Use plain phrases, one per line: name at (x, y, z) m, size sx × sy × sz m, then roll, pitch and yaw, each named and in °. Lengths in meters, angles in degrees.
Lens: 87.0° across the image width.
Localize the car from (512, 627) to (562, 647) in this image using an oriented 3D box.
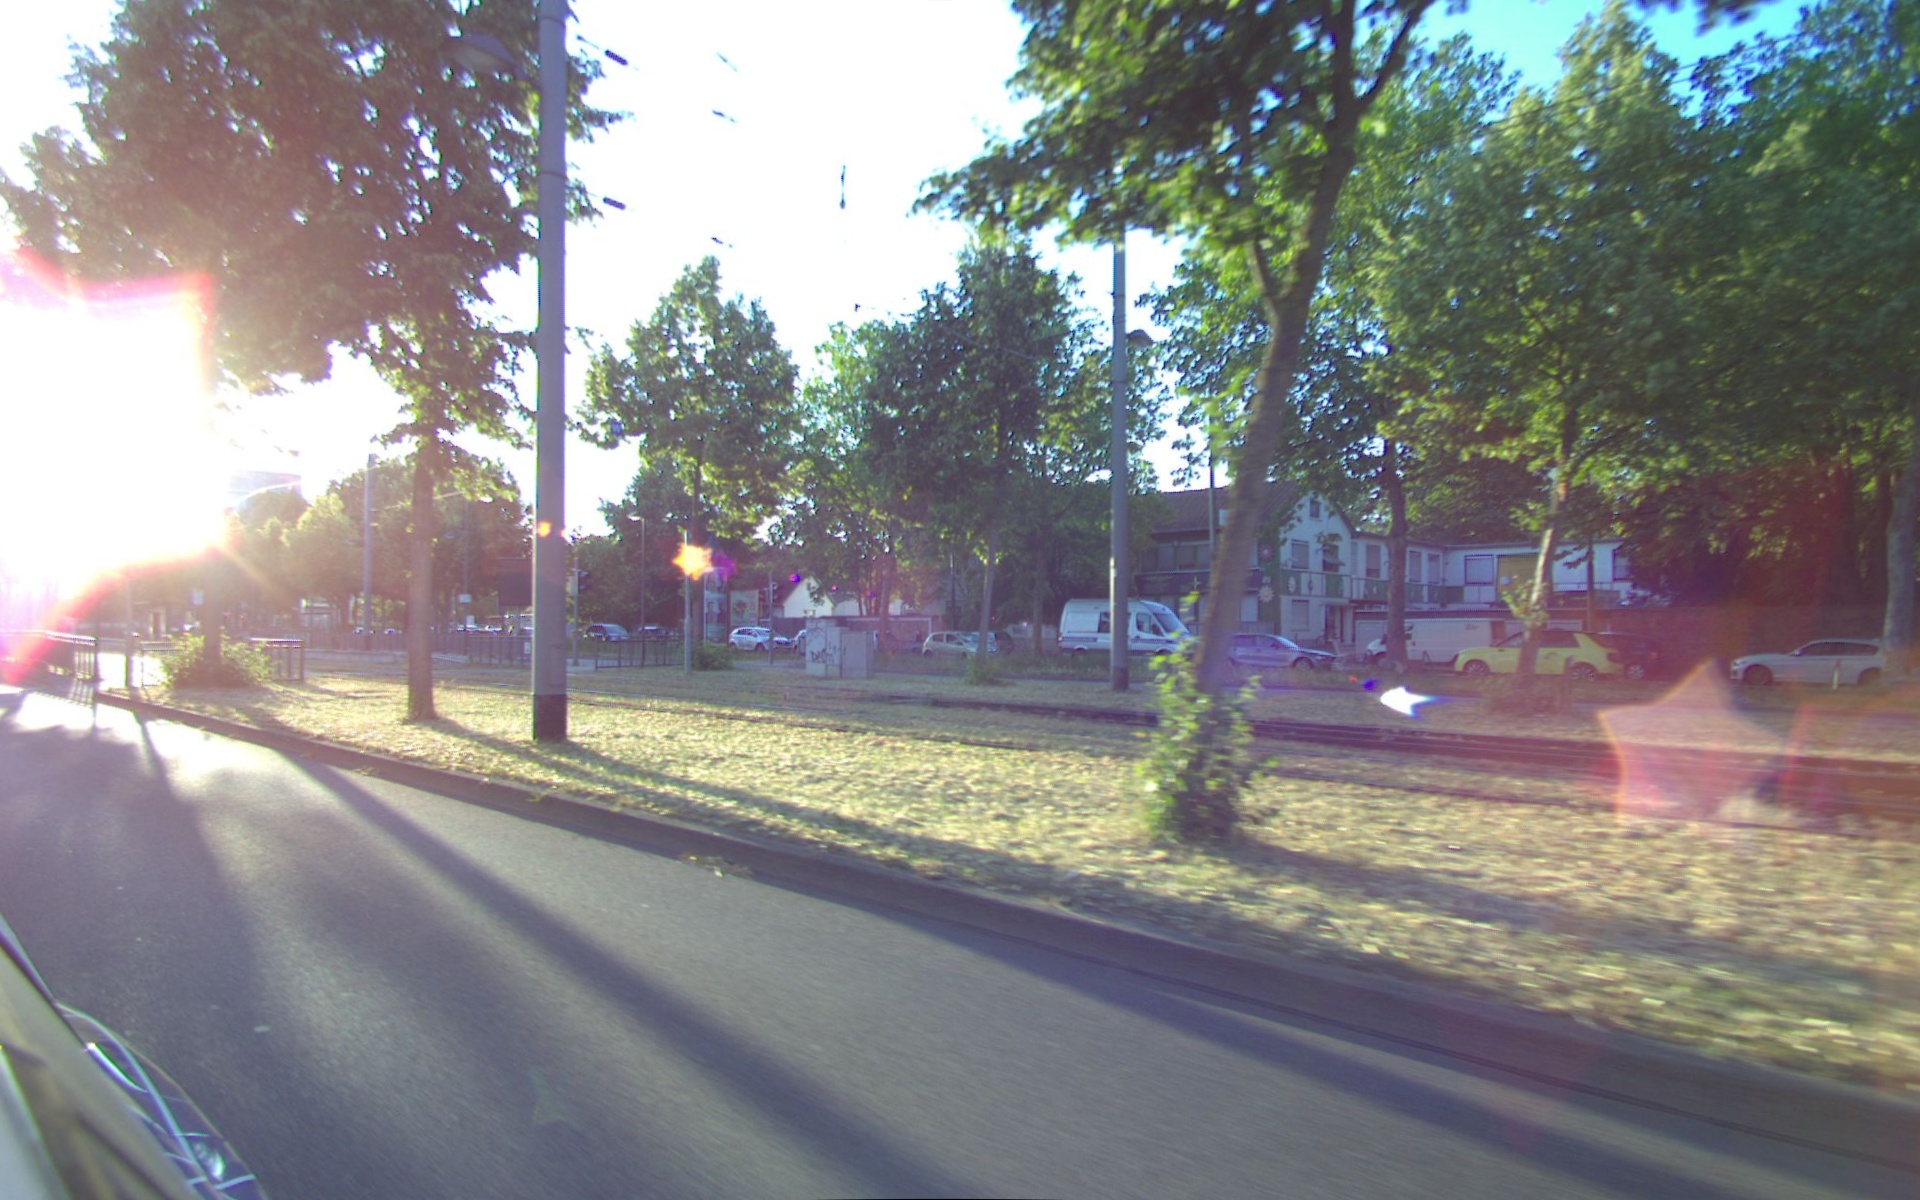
car at (-31.141, 2.740, 74.449) m, size 4.001 × 1.418 × 1.971 m, roll -2°, pitch -2°, yaw 44°

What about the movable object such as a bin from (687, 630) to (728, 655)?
movable object such as a bin at (-14.089, 2.364, 56.528) m, size 1.724 × 1.383 × 1.536 m, roll -2°, pitch -2°, yaw 42°

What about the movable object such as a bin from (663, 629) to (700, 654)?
movable object such as a bin at (-16.137, 2.381, 58.628) m, size 1.701 × 1.422 × 1.393 m, roll -2°, pitch -2°, yaw 42°

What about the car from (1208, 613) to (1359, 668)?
car at (10.357, 1.277, 32.584) m, size 4.205 × 1.649 × 1.973 m, roll -1°, pitch -2°, yaw 40°

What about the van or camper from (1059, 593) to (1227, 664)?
van or camper at (6.532, 1.026, 36.752) m, size 2.258 × 2.383 × 5.786 m, roll 1°, pitch -2°, yaw -44°

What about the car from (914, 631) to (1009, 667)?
car at (0.025, 2.197, 45.889) m, size 4.098 × 1.512 × 1.972 m, roll -1°, pitch -2°, yaw 43°

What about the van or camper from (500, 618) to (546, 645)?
van or camper at (-43.246, 3.127, 100.091) m, size 2.363 × 2.583 × 5.638 m, roll 2°, pitch -2°, yaw -43°

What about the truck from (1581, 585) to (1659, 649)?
truck at (38.793, 1.036, 59.413) m, size 6.591 × 3.546 × 2.293 m, roll 1°, pitch -2°, yaw -43°

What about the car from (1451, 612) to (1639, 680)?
car at (15.538, 1.194, 26.980) m, size 3.999 × 1.652 × 1.972 m, roll -2°, pitch -2°, yaw 42°

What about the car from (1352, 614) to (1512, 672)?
car at (17.638, 1.582, 37.981) m, size 5.060 × 2.029 × 1.971 m, roll -2°, pitch -2°, yaw 45°

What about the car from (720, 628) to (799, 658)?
car at (-10.667, 2.248, 53.773) m, size 4.298 × 1.512 × 1.972 m, roll -2°, pitch -2°, yaw 43°

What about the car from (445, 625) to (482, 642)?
car at (-45.809, 3.100, 93.308) m, size 1.970 × 1.542 × 4.003 m, roll 1°, pitch -2°, yaw -44°

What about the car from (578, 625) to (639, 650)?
car at (-23.171, 2.445, 66.656) m, size 4.297 × 1.598 × 1.972 m, roll -2°, pitch -2°, yaw 43°

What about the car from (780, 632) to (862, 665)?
car at (-6.819, 2.332, 49.346) m, size 4.053 × 1.543 × 1.790 m, roll -2°, pitch -2°, yaw 43°

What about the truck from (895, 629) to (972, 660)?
truck at (-1.536, 2.504, 58.006) m, size 4.295 × 1.703 × 1.971 m, roll -2°, pitch -3°, yaw 44°

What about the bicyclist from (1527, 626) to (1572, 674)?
bicyclist at (19.175, 1.621, 32.931) m, size 0.719 × 1.545 × 1.086 m, roll 2°, pitch -3°, yaw -43°

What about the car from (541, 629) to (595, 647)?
car at (-27.589, 2.663, 71.155) m, size 4.089 × 1.210 × 1.972 m, roll -2°, pitch -2°, yaw 43°

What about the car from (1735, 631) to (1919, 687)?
car at (25.472, 1.680, 29.748) m, size 4.051 × 1.503 × 1.839 m, roll -2°, pitch -2°, yaw 44°

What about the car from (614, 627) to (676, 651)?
car at (-19.531, 2.400, 62.725) m, size 4.000 × 1.459 × 1.972 m, roll -2°, pitch -2°, yaw 43°
